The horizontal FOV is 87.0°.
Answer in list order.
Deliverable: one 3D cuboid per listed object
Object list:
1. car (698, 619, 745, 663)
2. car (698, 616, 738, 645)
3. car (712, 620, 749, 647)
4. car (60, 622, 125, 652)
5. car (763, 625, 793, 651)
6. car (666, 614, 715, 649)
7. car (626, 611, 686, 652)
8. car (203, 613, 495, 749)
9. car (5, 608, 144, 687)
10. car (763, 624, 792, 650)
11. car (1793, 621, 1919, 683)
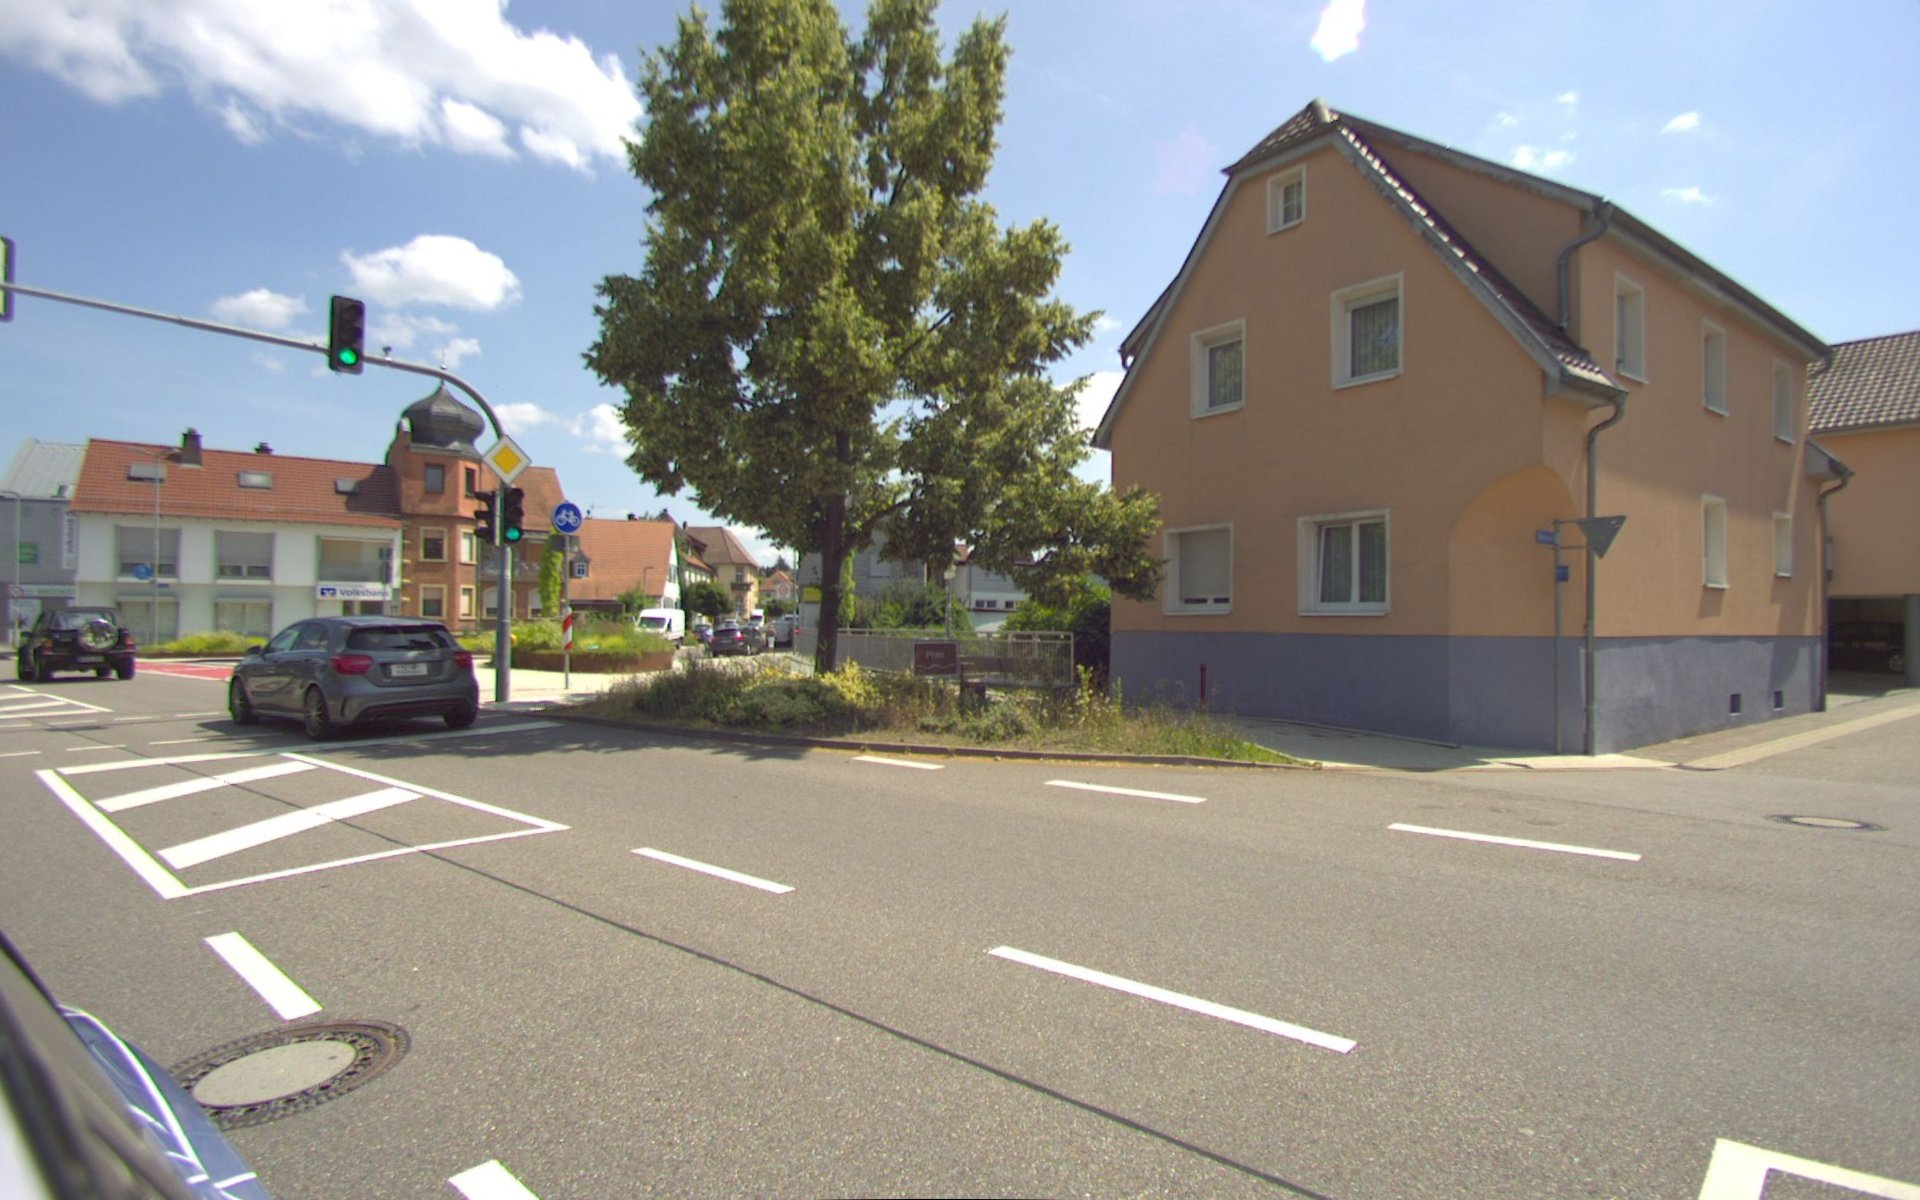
[{"bbox_3d":[-11.579,2.002,49.375,1.968,2.029,4.007,1,-2,-9],"label":"car"},{"bbox_3d":[-20.658,2.597,86.546,2.143,2.363,5.111,1,-2,0],"label":"car"},{"bbox_3d":[-20.935,3.043,92.492,2.143,2.363,5.111,1,-2,0],"label":"car"},{"bbox_3d":[-49.195,2.125,57.476,1.966,1.587,4.266,2,-3,-29],"label":"car"},{"bbox_3d":[-12.849,2.659,71.480,2.036,1.741,4.008,2,-2,-10],"label":"car"},{"bbox_3d":[-19.253,2.286,72.452,2.143,2.363,5.111,1,-2,0],"label":"car"},{"bbox_3d":[-18.501,1.928,61.818,2.143,2.363,5.111,1,-2,0],"label":"car"},{"bbox_3d":[-7.964,0.938,13.064,4.212,1.453,1.845,0,-3,38],"label":"car"},{"bbox_3d":[-20.327,1.050,23.206,3.663,1.663,1.722,-1,-2,38],"label":"car"},{"bbox_3d":[-13.819,2.813,76.898,1.894,1.892,4.006,2,-2,-7],"label":"car"},{"bbox_3d":[28.986,1.618,31.809,1.968,1.852,4.008,3,-3,-39],"label":"car"}]
